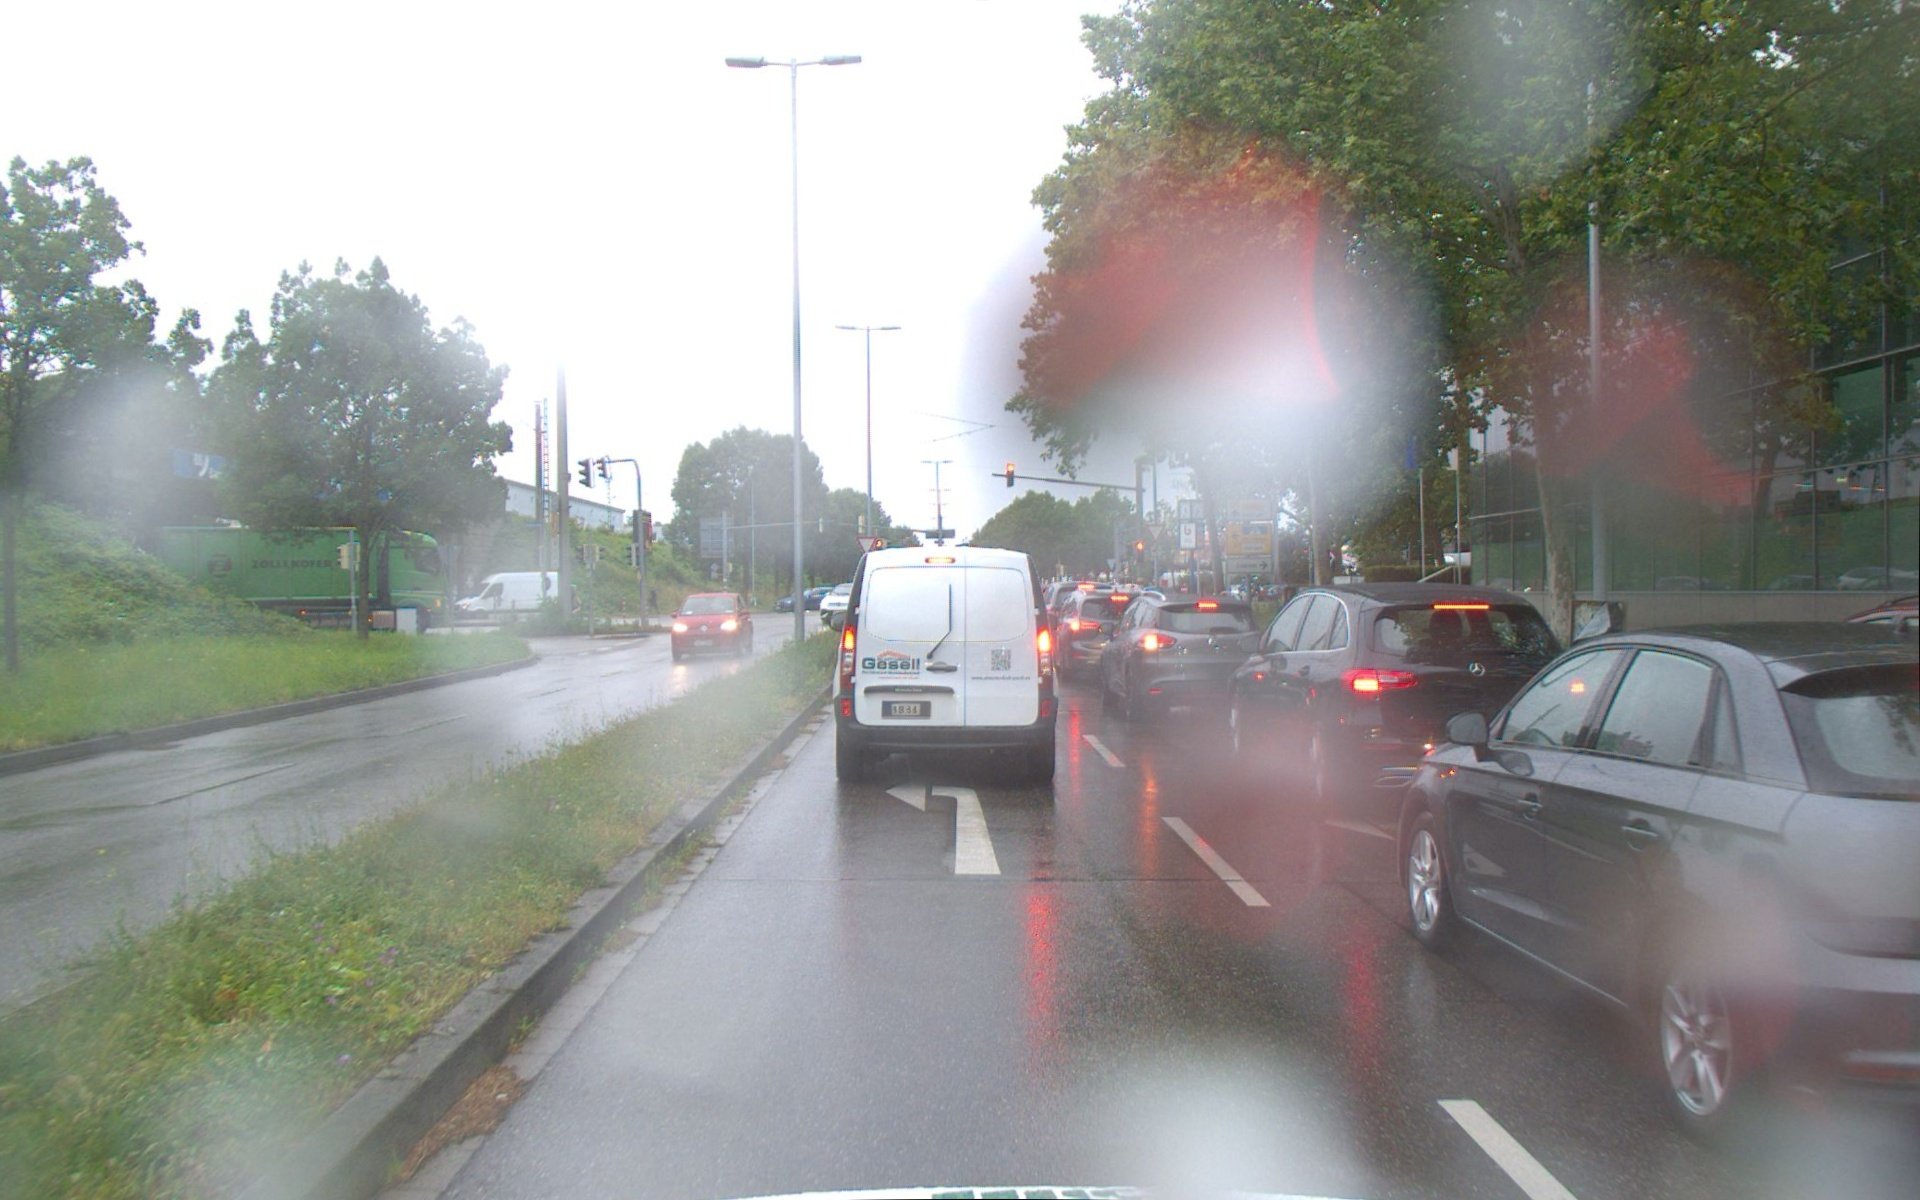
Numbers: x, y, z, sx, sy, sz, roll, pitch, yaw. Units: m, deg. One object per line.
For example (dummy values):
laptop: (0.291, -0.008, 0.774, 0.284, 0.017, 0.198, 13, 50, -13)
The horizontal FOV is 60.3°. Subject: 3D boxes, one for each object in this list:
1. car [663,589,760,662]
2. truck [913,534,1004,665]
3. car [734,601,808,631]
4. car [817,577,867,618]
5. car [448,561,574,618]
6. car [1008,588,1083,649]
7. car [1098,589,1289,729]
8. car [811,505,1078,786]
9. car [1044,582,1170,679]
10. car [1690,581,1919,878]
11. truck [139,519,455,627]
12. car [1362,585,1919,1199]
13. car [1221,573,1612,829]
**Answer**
car: (-5.792, 0.559, 38.961, 1.681, 1.540, 3.614, -2, 1, 0)
truck: (-0.084, -0.008, 33.875, 1.721, 2.509, 3.998, 0, 0, -2)
car: (-10.886, 0.909, 95.389, 3.888, 1.551, 1.760, -3, 1, -27)
car: (-4.936, -0.121, 69.540, 1.923, 1.551, 4.333, -2, 1, -2)
car: (-23.013, -0.489, 84.865, 5.957, 2.792, 1.973, 1, -2, -38)
car: (2.155, 0.434, 42.509, 1.676, 1.470, 4.000, 0, 1, -1)
car: (2.690, 0.624, 19.873, 1.676, 1.470, 4.000, 0, 1, -1)
car: (-0.183, 0.375, 14.117, 1.953, 2.049, 3.998, 0, -1, -2)
car: (2.377, 0.450, 27.542, 1.676, 1.470, 4.000, 0, 1, -1)
car: (5.940, 0.688, 9.254, 1.802, 1.563, 4.110, 1, 0, -2)
truck: (-23.180, -0.821, 58.344, 10.037, 3.512, 2.622, 1, -2, -38)
car: (2.973, 0.708, 5.901, 1.953, 1.477, 3.998, 0, 0, -3)
car: (3.172, 0.595, 12.332, 1.674, 1.577, 3.998, 0, 1, -2)
